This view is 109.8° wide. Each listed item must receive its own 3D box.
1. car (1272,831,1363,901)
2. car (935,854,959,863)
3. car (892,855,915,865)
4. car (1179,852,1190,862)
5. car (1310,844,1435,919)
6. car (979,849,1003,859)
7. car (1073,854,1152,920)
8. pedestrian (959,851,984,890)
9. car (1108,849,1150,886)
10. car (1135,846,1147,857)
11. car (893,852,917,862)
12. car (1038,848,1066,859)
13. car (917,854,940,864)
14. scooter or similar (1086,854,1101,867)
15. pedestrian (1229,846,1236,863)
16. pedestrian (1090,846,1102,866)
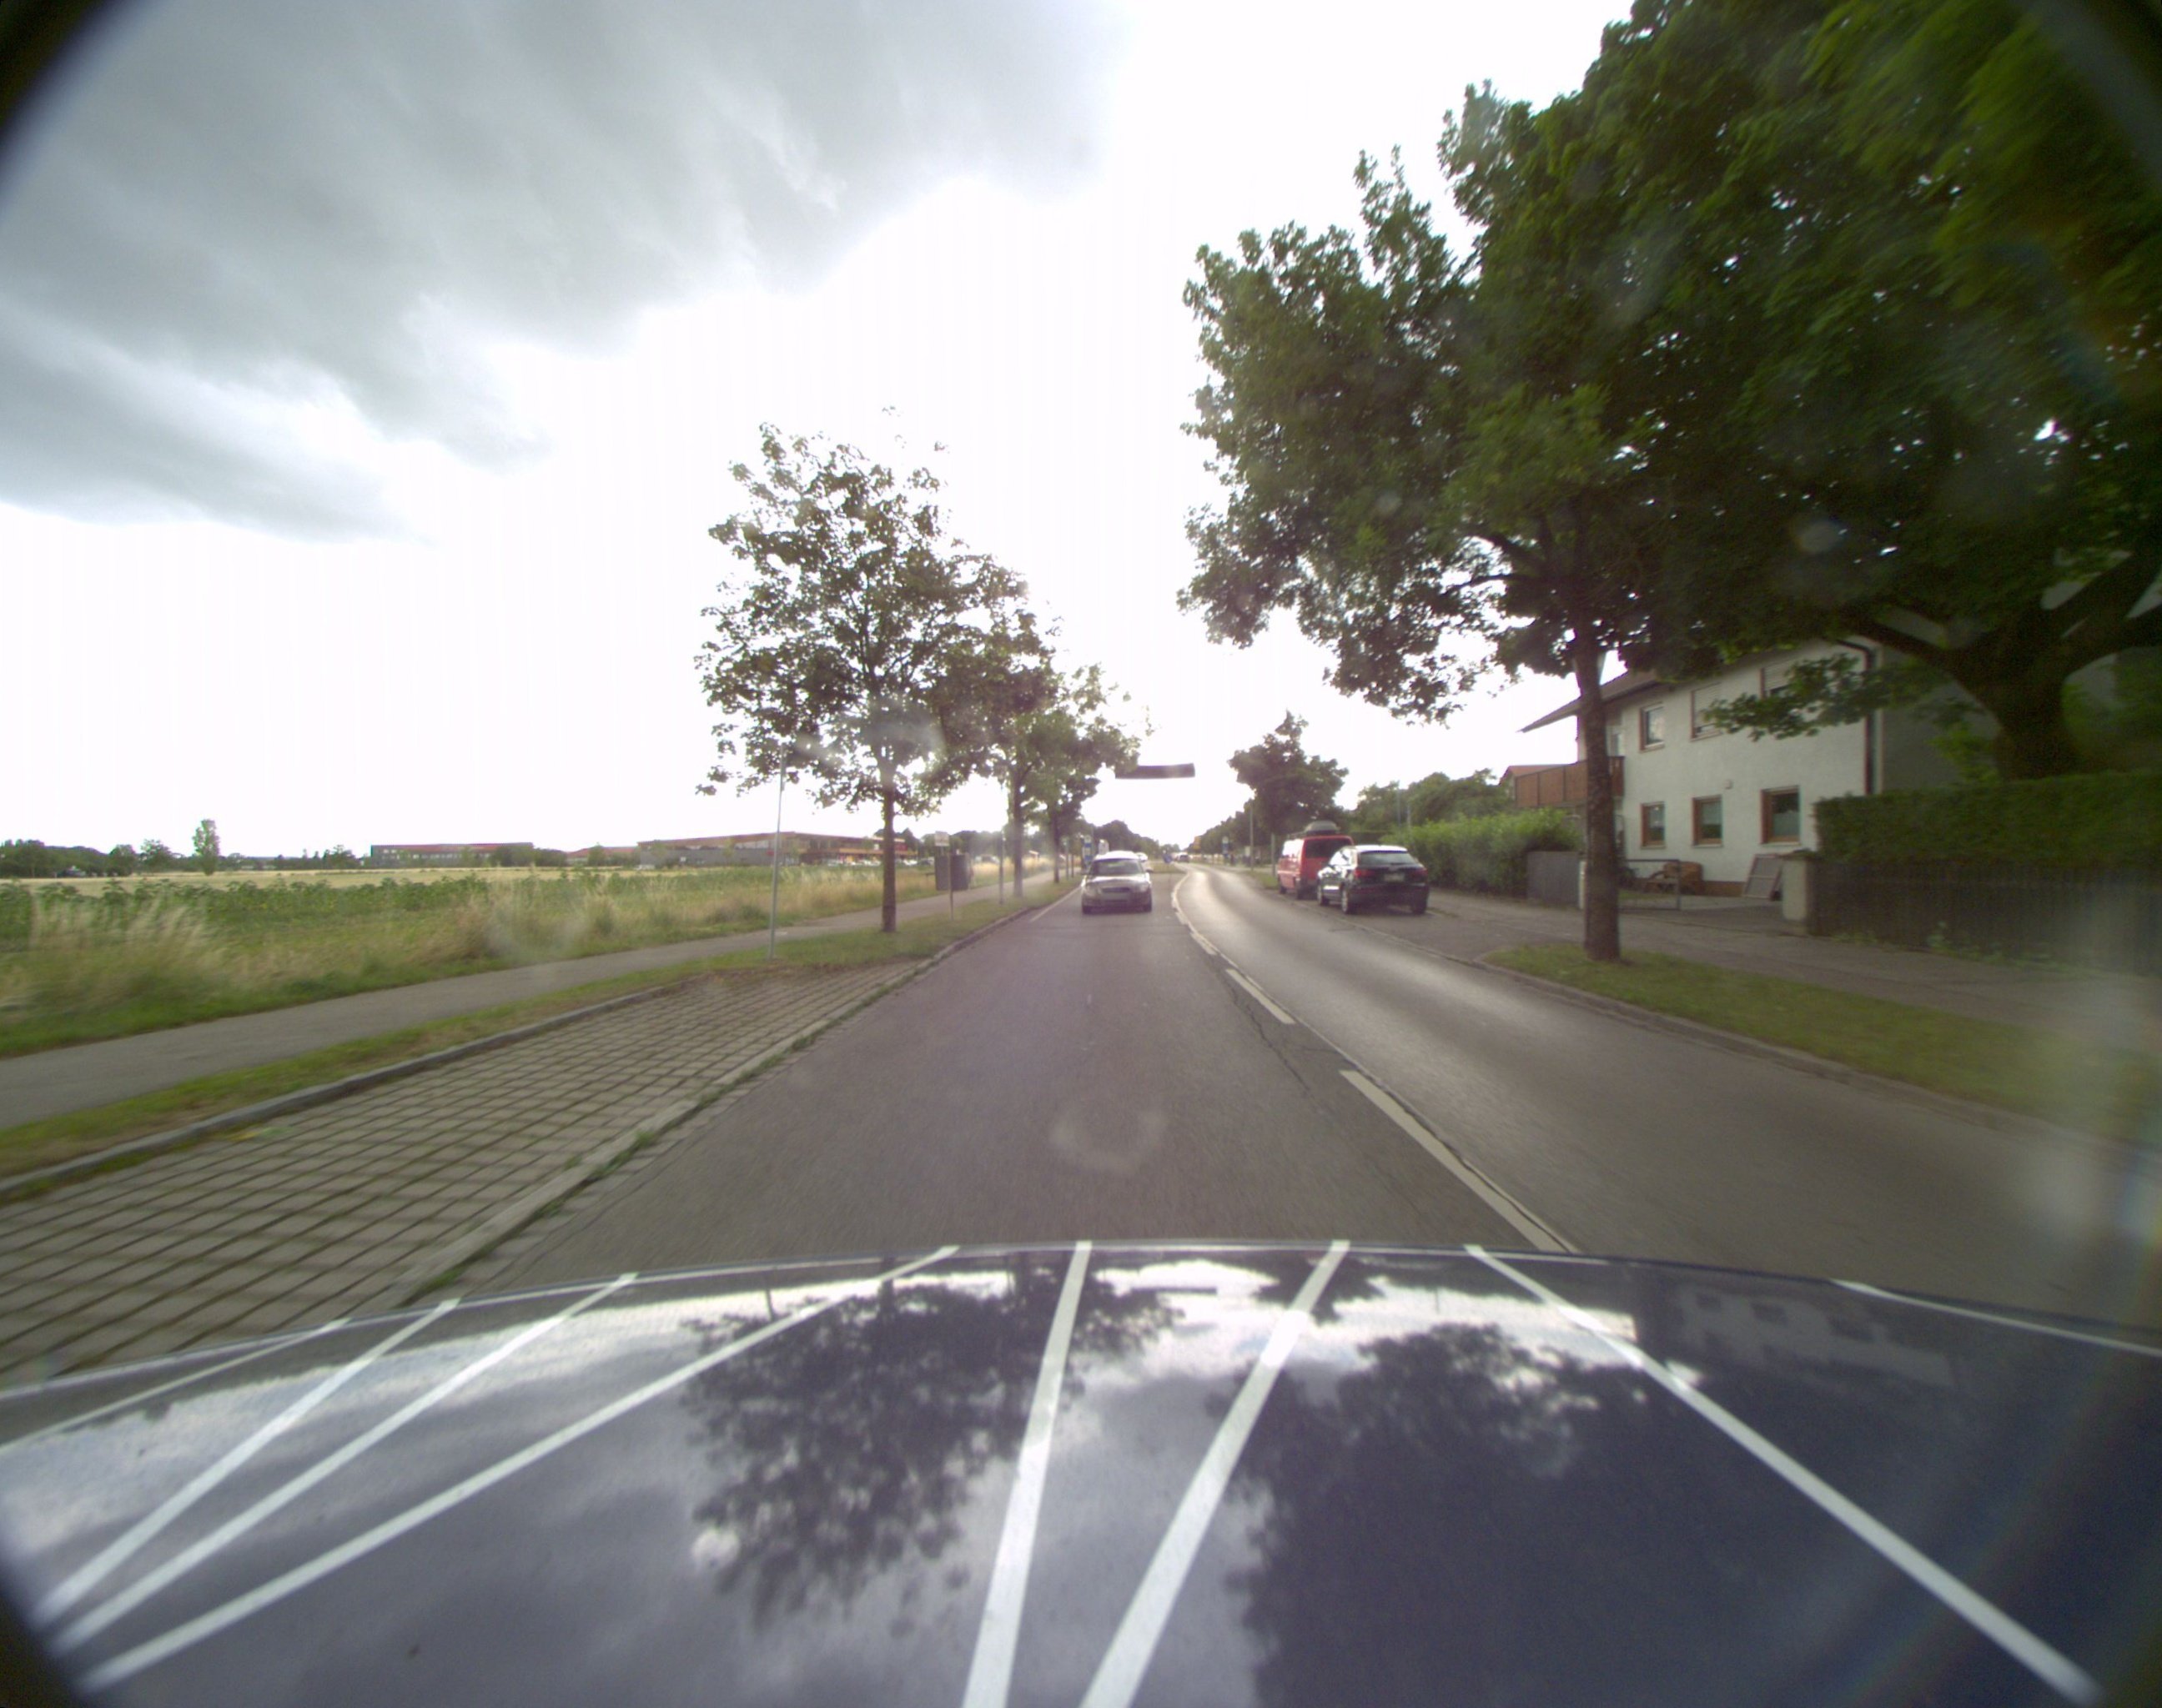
[{"bbox_3d":[7.534,0.357,24.708,1.834,2.018,5.048,-1,0,6],"label":"car"},{"bbox_3d":[-32.812,1.163,186.483,5.525,2.002,1.999,-3,1,-1],"label":"car"},{"bbox_3d":[-40.785,1.407,174.905,4.856,2.002,1.999,-3,1,-3],"label":"car"},{"bbox_3d":[16.478,0.474,121.530,1.710,1.523,3.509,1,0,7],"label":"car"},{"bbox_3d":[6.996,0.607,18.713,1.775,1.588,4.240,-2,0,6],"label":"car"},{"bbox_3d":[-21.350,0.033,180.314,5.525,2.002,1.999,-3,1,-1],"label":"car"},{"bbox_3d":[0.926,0.764,19.843,1.762,1.410,4.521,-3,0,5],"label":"car"},{"bbox_3d":[-4.935,0.742,34.337,0.839,1.745,0.870,-2,1,10],"label":"pedestrian"},{"bbox_3d":[2.299,0.587,35.598,1.762,1.495,4.692,-3,0,5],"label":"car"},{"bbox_3d":[10.784,-0.454,136.553,1.998,2.002,4.000,-1,0,3],"label":"car"},{"bbox_3d":[-38.939,0.658,168.471,4.856,2.002,1.999,-3,1,-3],"label":"car"},{"bbox_3d":[-5.957,-0.120,155.143,5.525,2.002,1.999,-3,1,-1],"label":"car"},{"bbox_3d":[-34.328,1.126,171.089,4.856,2.002,1.999,-3,1,-3],"label":"car"},{"bbox_3d":[1.106,0.566,67.125,0.707,1.056,1.062,-2,1,42],"label":"scooter or similar"},{"bbox_3d":[14.697,0.003,73.626,0.589,1.627,0.813,-1,0,5],"label":"pedestrian"},{"bbox_3d":[1.416,0.199,71.001,0.781,1.782,0.780,-3,1,26],"label":"pedestrian"}]
